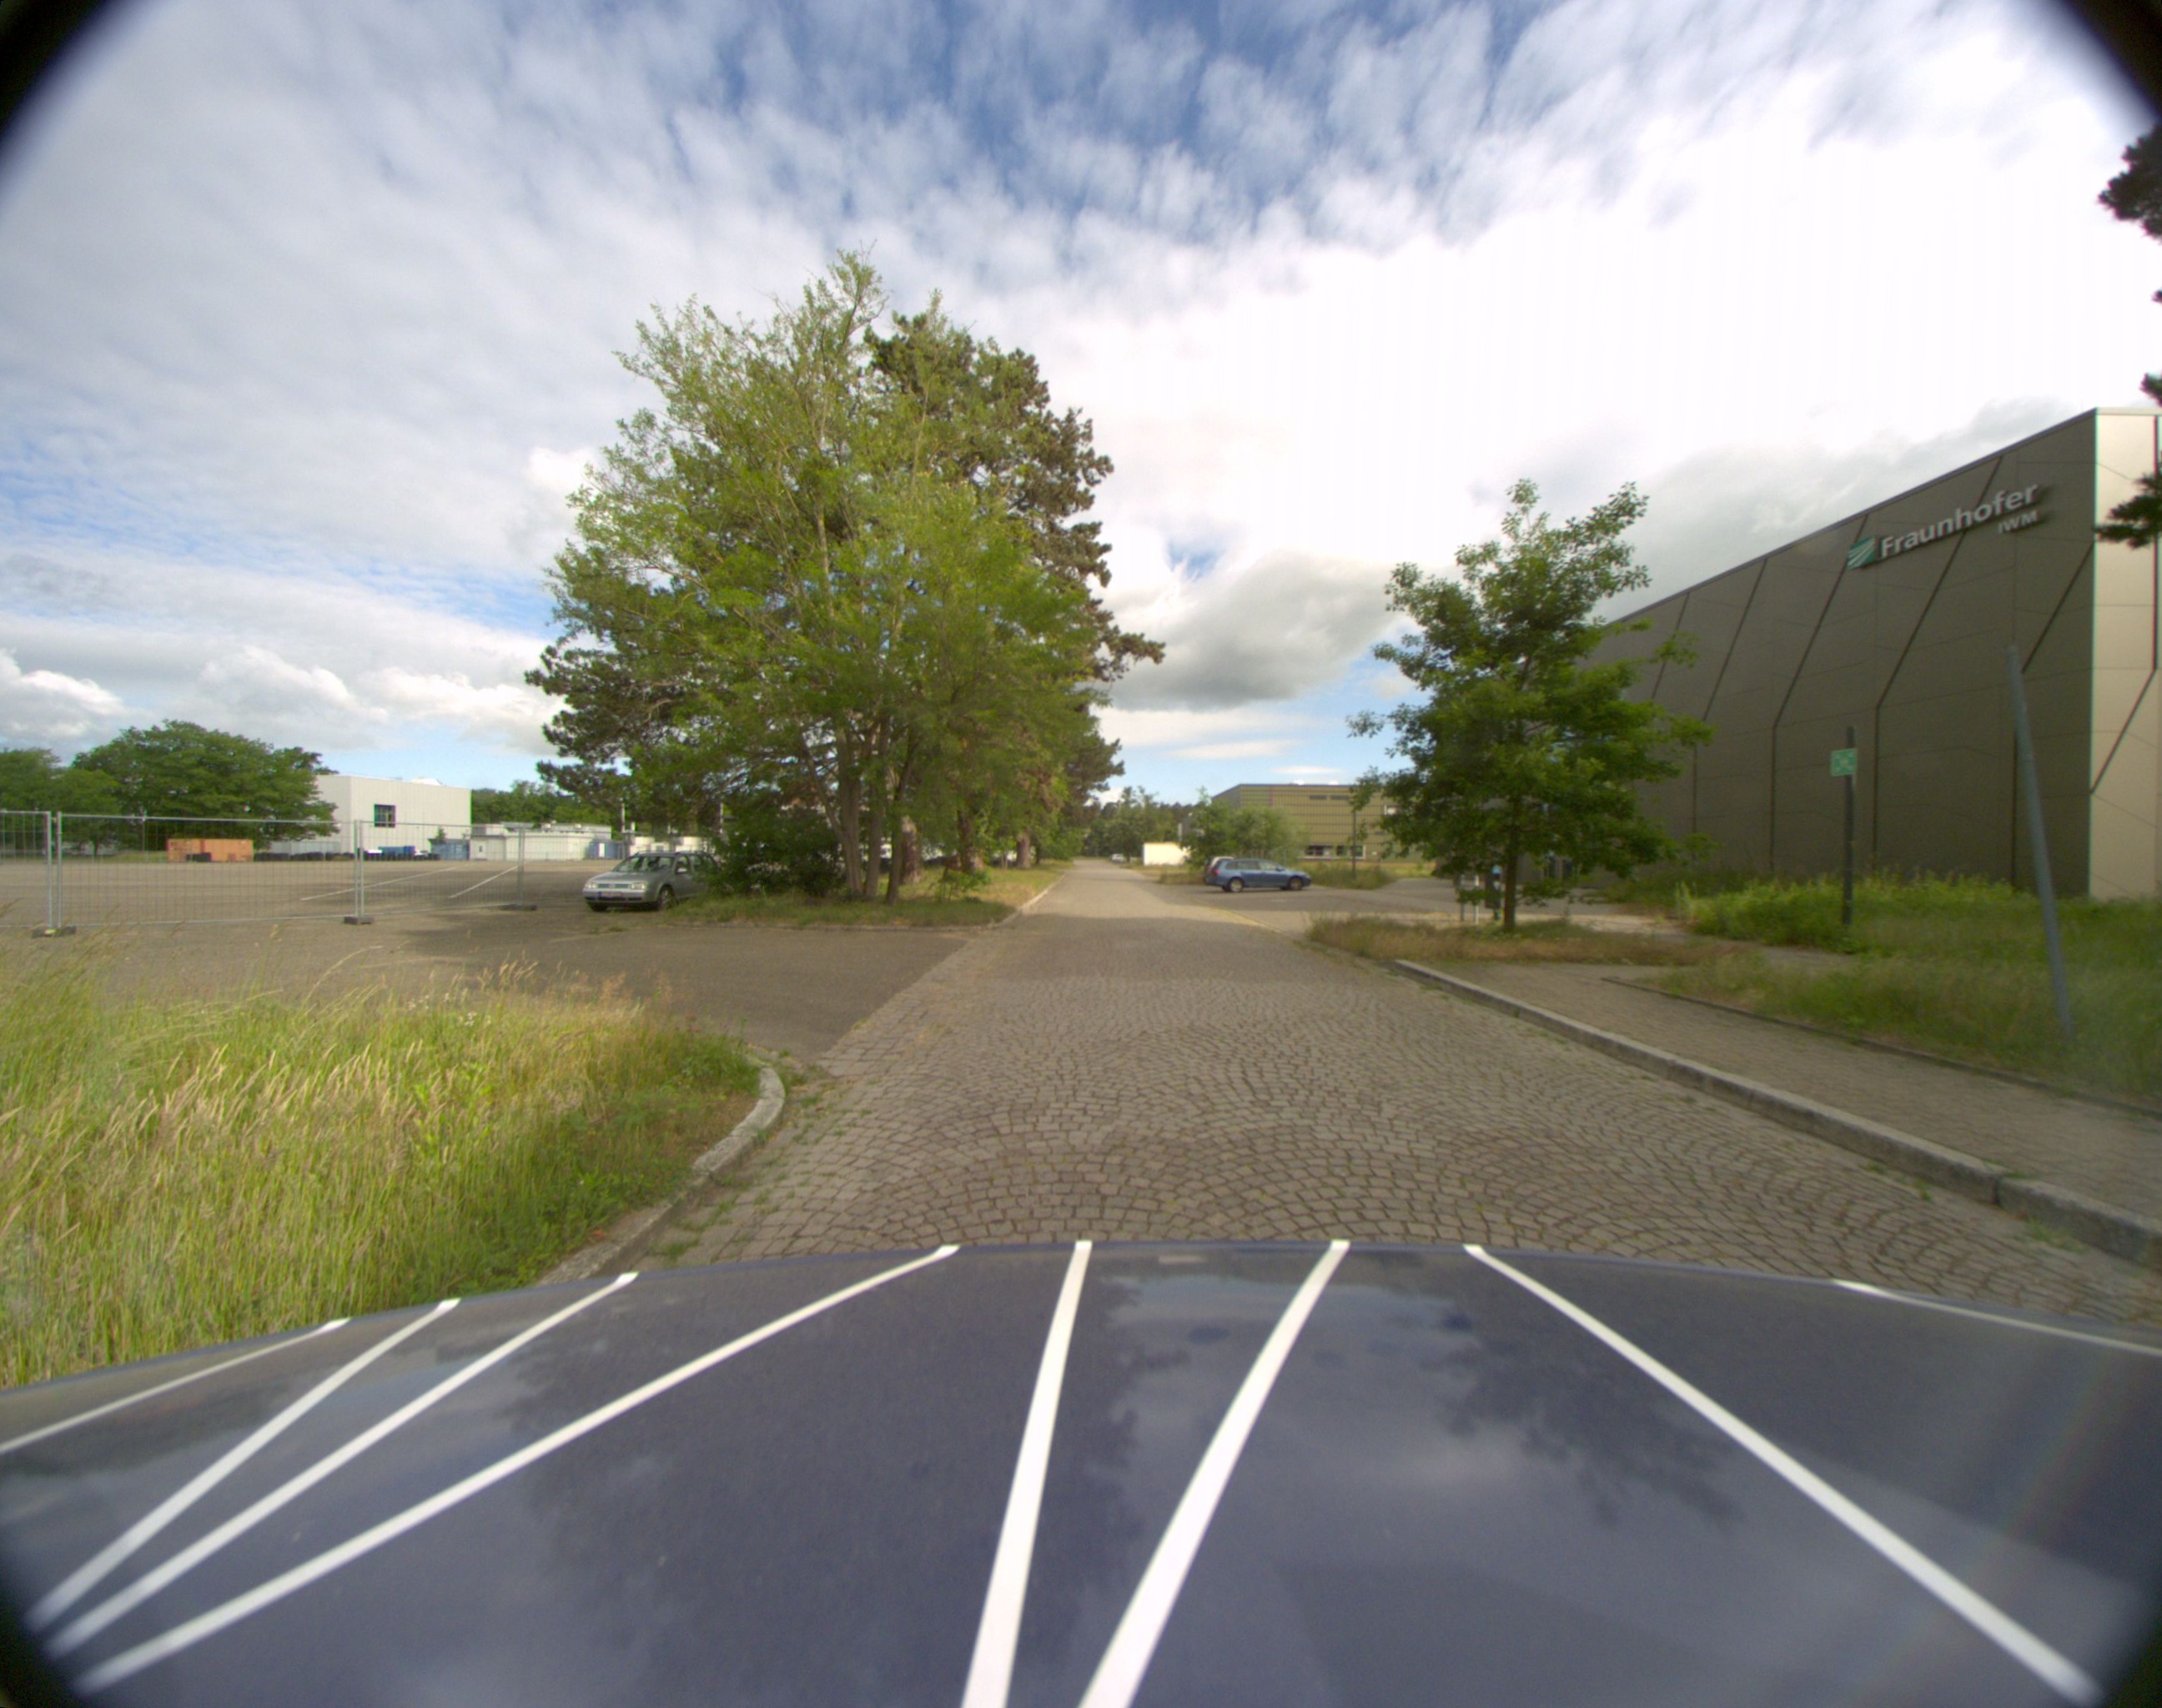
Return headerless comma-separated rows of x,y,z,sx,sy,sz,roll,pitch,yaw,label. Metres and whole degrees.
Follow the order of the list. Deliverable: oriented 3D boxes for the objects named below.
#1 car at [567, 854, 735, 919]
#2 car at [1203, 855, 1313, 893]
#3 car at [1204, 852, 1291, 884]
-10.807,0.738,19.518,1.759,1.440,4.327,1,0,2,car
7.834,0.857,33.854,4.404,1.501,1.716,-2,1,-2,car
8.952,0.760,41.142,4.401,1.537,1.842,-2,0,7,car
